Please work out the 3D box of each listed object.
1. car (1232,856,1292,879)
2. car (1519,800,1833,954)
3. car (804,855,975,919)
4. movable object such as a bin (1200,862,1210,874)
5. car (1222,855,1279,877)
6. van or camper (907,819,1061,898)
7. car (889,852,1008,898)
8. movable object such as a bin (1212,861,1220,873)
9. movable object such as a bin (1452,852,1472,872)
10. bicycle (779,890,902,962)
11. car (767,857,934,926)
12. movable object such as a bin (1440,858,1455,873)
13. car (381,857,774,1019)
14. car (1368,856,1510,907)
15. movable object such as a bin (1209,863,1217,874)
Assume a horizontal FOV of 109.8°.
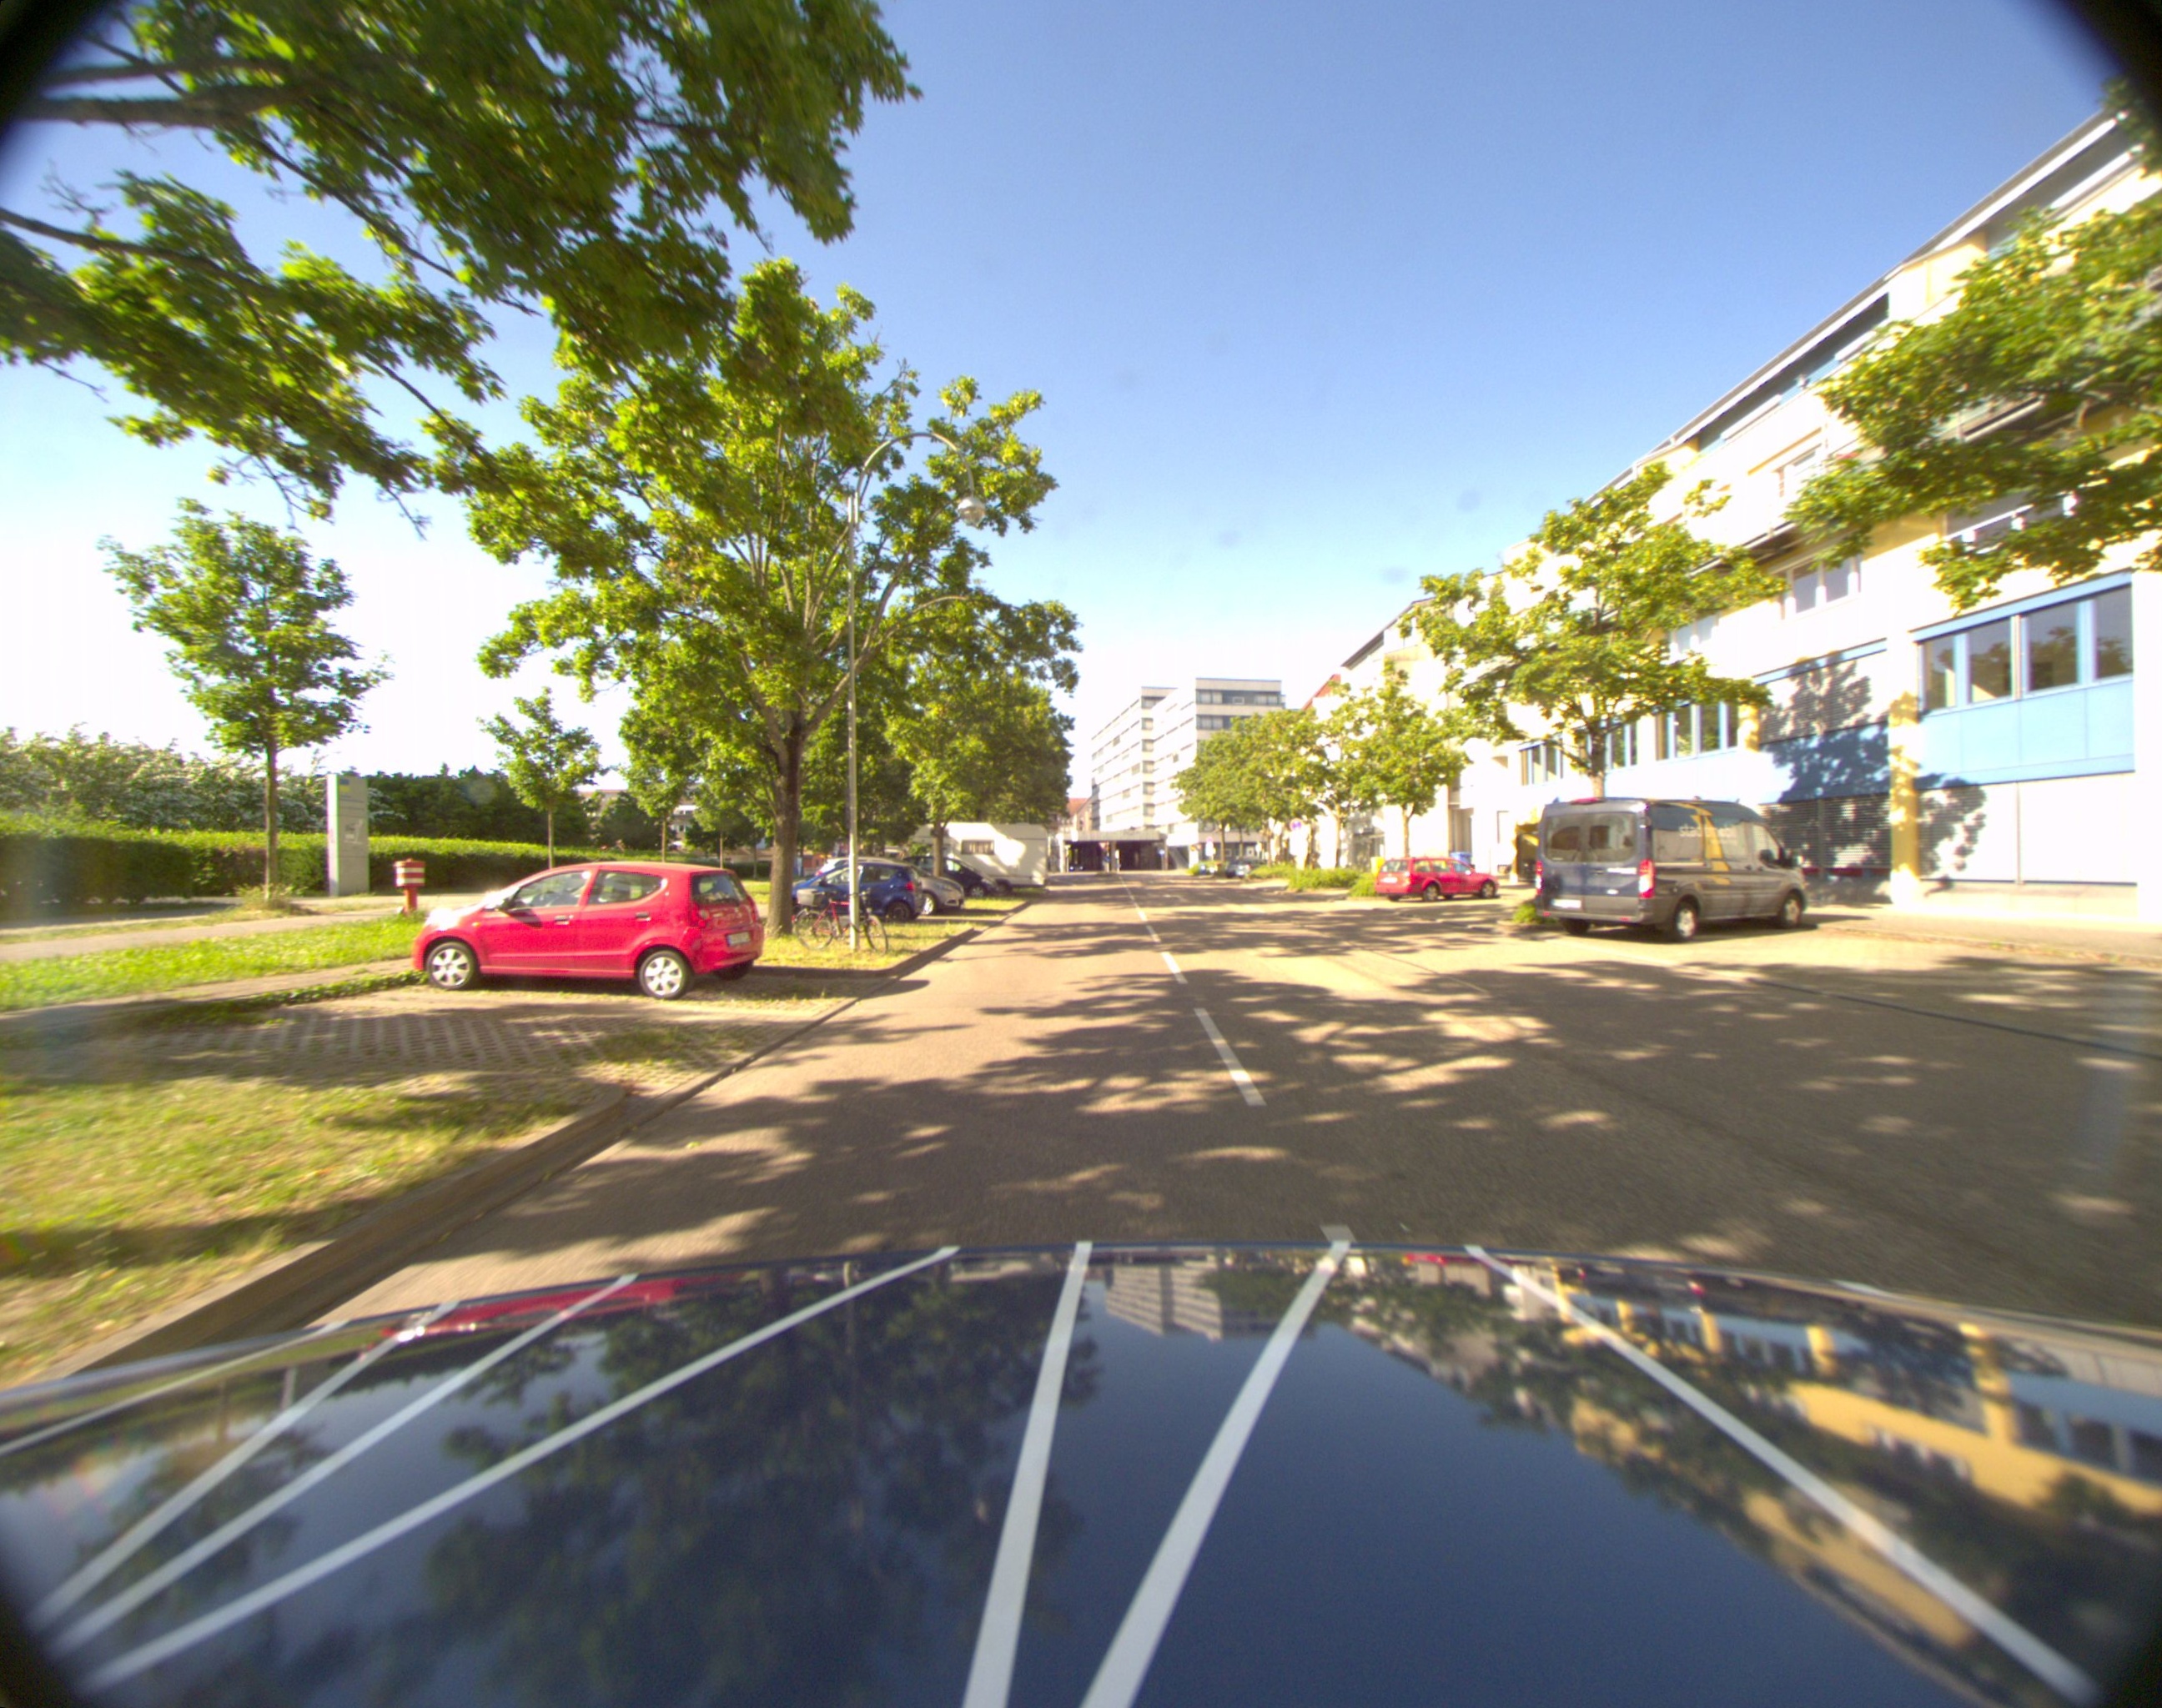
[{"bbox_3d":[12.997,0.941,54.540,4.006,1.455,1.807,-2,1,-32],"label":"car"},{"bbox_3d":[11.040,0.304,14.060,5.511,2.422,2.182,-2,0,-24],"label":"car"},{"bbox_3d":[-5.255,0.878,21.209,4.203,1.537,1.859,2,0,3],"label":"car"},{"bbox_3d":[11.291,1.309,69.392,0.674,1.067,0.804,0,0,27],"label":"movable object such as a bin"},{"bbox_3d":[12.856,0.873,57.515,4.006,1.455,1.807,-2,1,-32],"label":"car"},{"bbox_3d":[-3.946,0.189,31.856,5.996,2.966,2.671,2,0,1],"label":"van or camper"},{"bbox_3d":[-4.970,0.787,28.885,4.159,1.537,1.859,2,0,0],"label":"car"},{"bbox_3d":[12.379,1.194,69.716,0.476,1.034,0.543,-2,1,27],"label":"movable object such as a bin"},{"bbox_3d":[23.616,0.490,47.117,0.622,1.272,1.120,-1,0,-2],"label":"movable object such as a bin"},{"bbox_3d":[-3.680,1.075,11.644,1.753,0.985,0.530,1,0,14],"label":"bicycle"},{"bbox_3d":[-5.533,0.889,18.568,3.471,1.470,1.859,2,0,-1],"label":"car"},{"bbox_3d":[22.712,0.712,47.080,0.622,0.967,0.690,-1,0,-2],"label":"movable object such as a bin"},{"bbox_3d":[-5.644,0.884,8.812,3.442,1.535,1.627,2,0,2],"label":"car"},{"bbox_3d":[11.743,0.862,24.943,4.239,1.467,1.767,-2,0,-22],"label":"car"},{"bbox_3d":[11.984,1.345,69.018,0.476,0.954,0.543,-2,1,26],"label":"movable object such as a bin"}]
